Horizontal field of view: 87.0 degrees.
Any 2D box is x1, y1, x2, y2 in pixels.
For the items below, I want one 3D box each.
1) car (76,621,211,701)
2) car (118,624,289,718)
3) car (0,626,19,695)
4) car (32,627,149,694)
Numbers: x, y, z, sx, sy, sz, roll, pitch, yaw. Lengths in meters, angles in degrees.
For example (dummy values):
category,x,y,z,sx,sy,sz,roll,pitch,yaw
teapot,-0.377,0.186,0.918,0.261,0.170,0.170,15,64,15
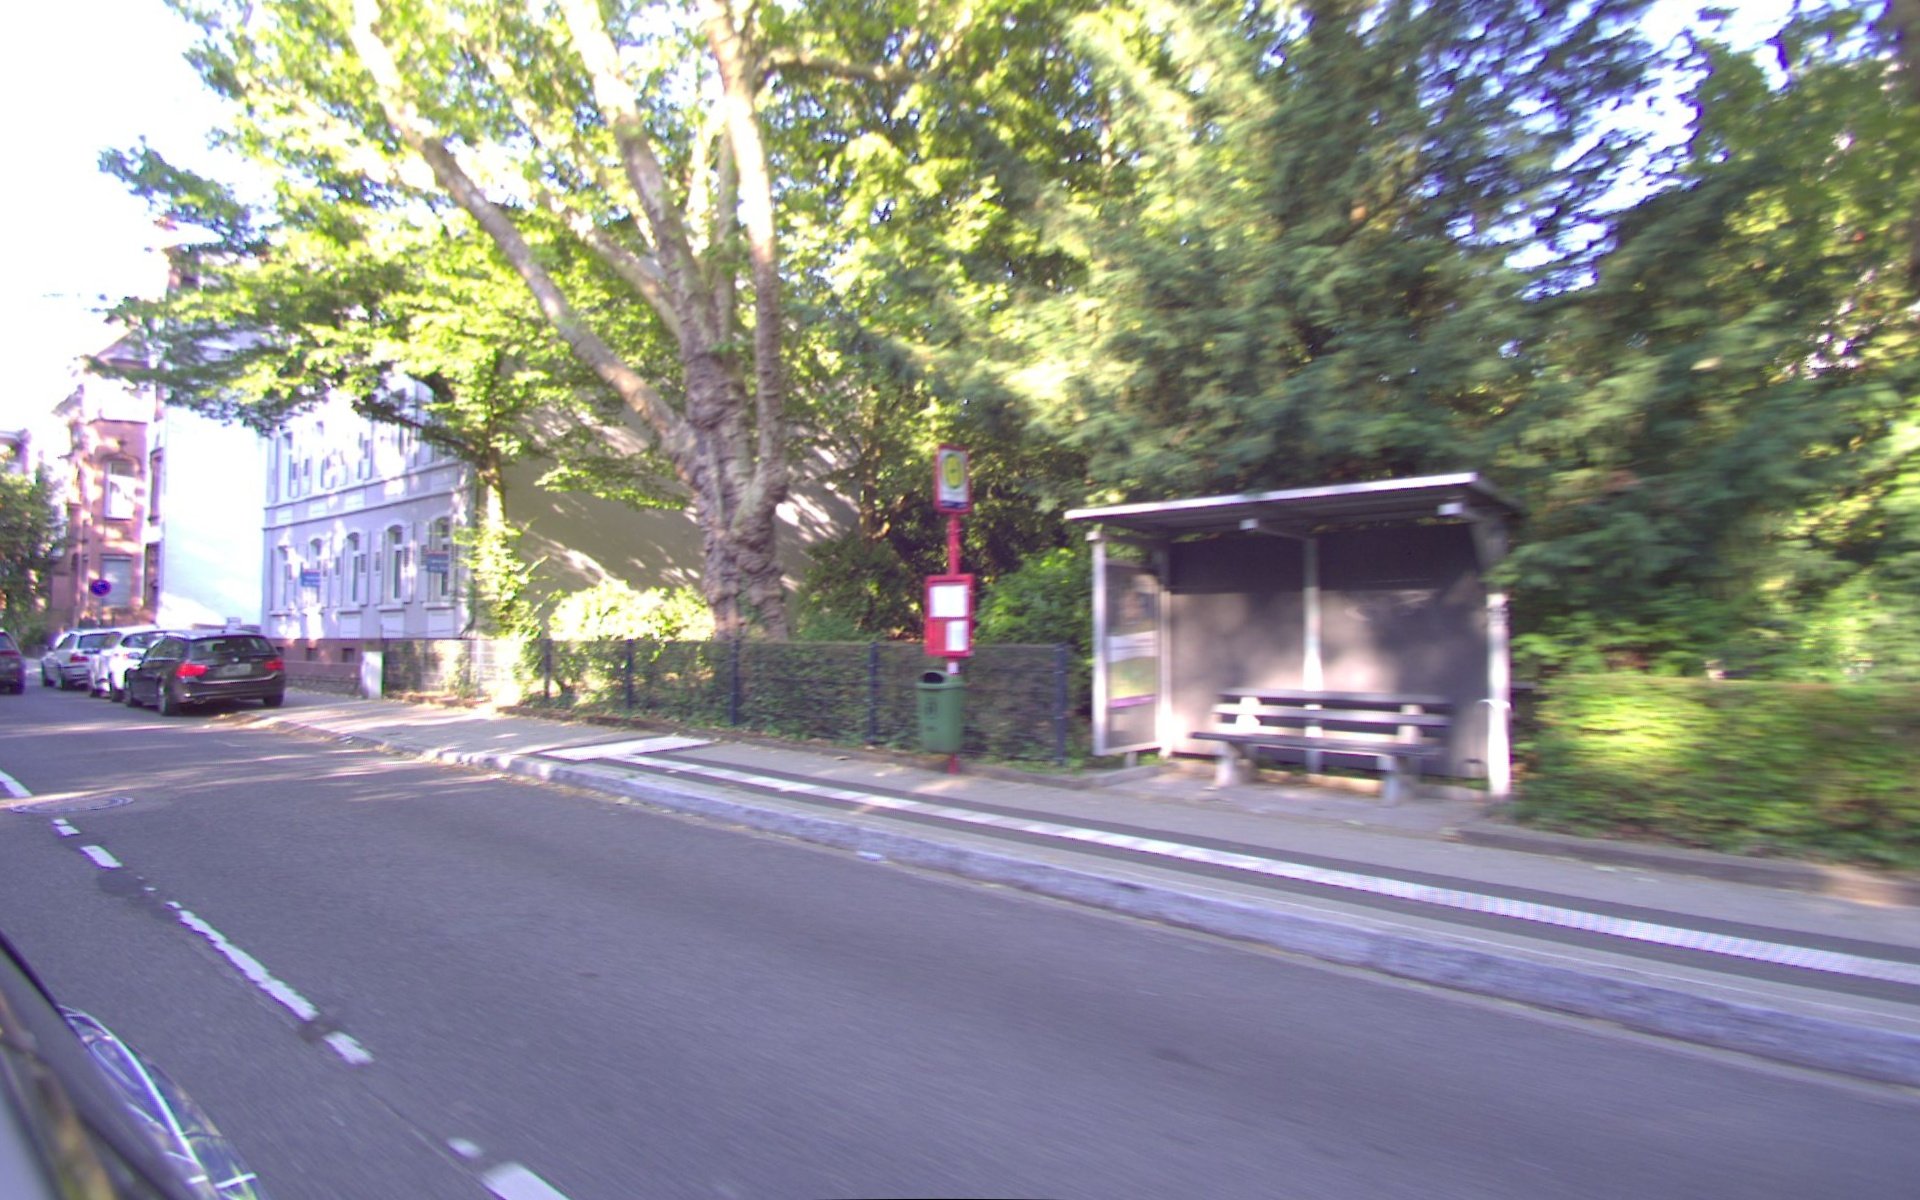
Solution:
category,x,y,z,sx,sy,sz,roll,pitch,yaw
car,-17.340,1.237,21.453,3.319,1.558,1.607,-1,-3,40
car,-13.618,1.201,18.156,3.613,1.445,1.668,-1,1,40
car,-21.786,1.264,21.906,3.557,1.445,1.607,-1,-4,40
car,-21.406,1.429,24.887,3.557,1.445,1.607,-1,1,40
